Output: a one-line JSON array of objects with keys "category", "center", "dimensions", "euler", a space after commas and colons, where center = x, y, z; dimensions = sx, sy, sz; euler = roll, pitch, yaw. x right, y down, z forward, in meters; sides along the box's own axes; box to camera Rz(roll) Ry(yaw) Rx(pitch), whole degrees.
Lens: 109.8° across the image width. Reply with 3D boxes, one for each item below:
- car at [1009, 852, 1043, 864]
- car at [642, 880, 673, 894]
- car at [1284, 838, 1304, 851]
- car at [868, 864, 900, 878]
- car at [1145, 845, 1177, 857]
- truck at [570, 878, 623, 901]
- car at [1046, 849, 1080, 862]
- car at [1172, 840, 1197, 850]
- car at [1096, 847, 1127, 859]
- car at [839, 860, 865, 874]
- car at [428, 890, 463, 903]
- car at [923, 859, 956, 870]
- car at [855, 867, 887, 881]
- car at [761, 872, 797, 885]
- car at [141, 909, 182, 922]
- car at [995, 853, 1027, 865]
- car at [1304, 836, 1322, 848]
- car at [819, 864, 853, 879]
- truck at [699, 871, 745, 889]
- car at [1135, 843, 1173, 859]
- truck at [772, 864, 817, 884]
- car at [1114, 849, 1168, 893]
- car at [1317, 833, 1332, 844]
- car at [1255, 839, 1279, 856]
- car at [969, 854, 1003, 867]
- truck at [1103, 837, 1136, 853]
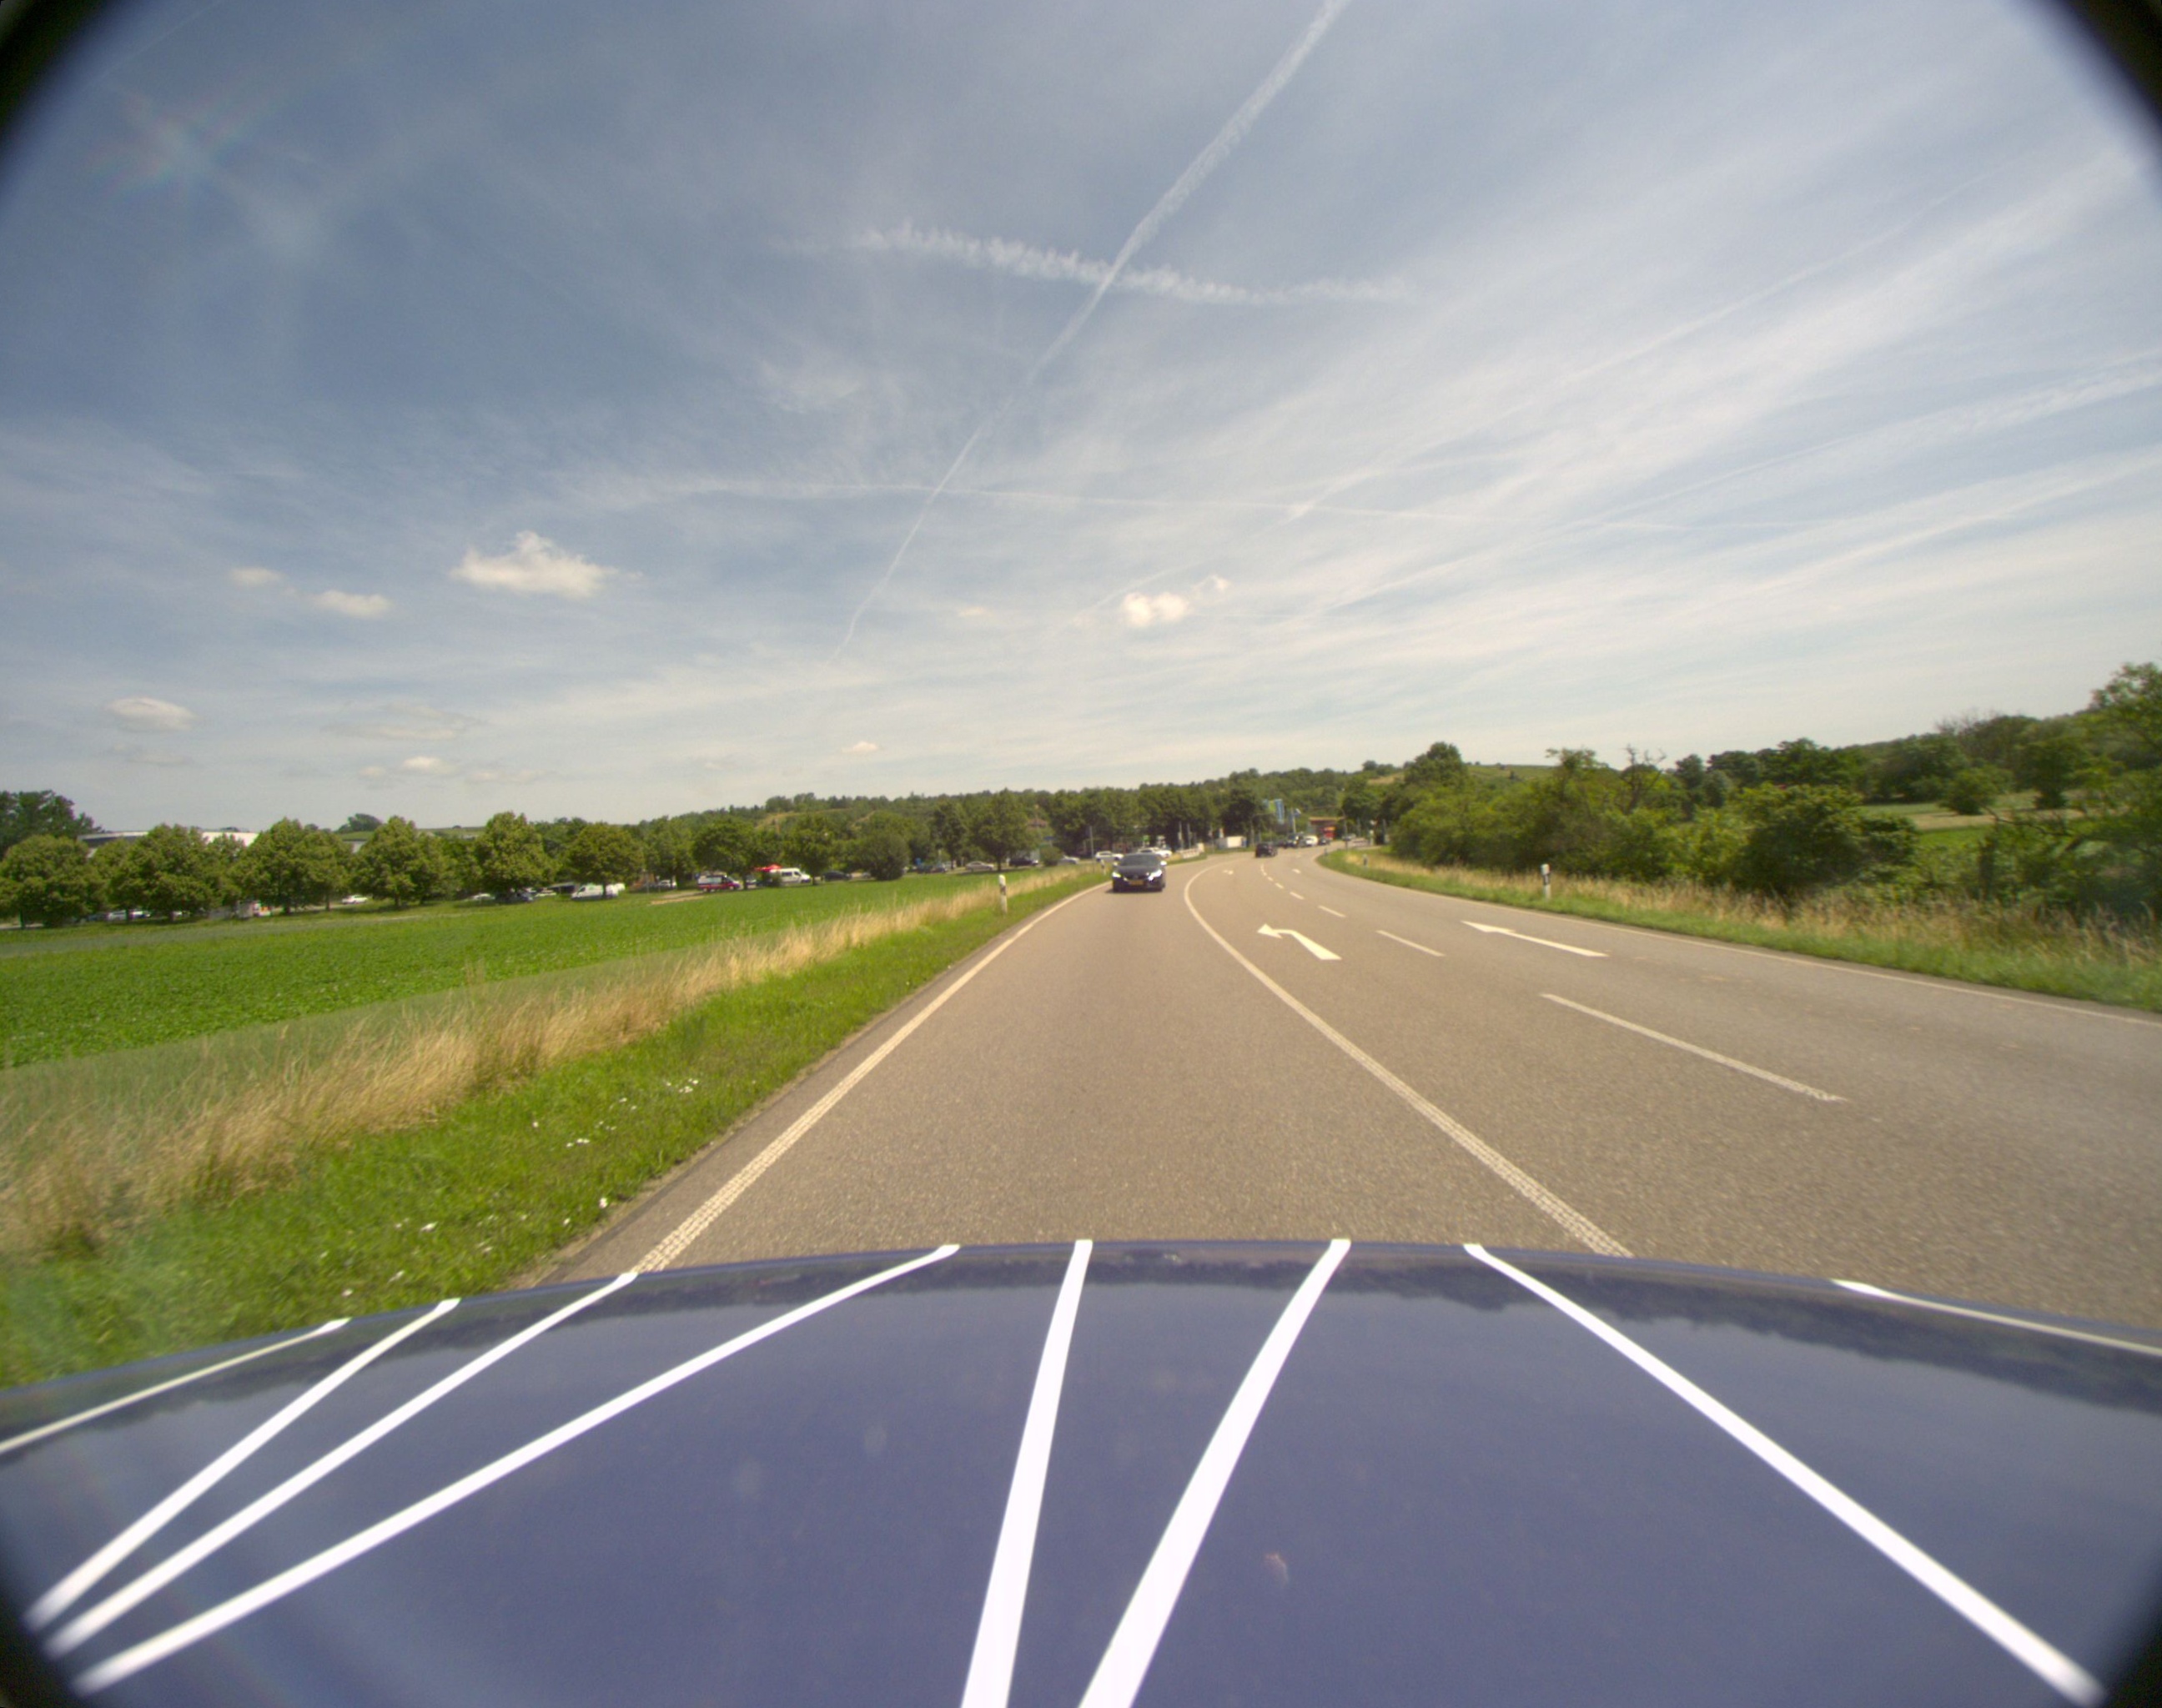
[{"category": "car", "center": [-8.061, 0.529, 111.642], "dimensions": [4.556, 1.501, 1.802], "euler": [-3, 0, 6]}, {"category": "car", "center": [-69.530, 5.431, 124.827], "dimensions": [3.998, 1.814, 1.821], "euler": [-4, 2, -4]}, {"category": "car", "center": [33.985, -1.539, 121.228], "dimensions": [1.806, 1.723, 4.006], "euler": [-3, 3, 34]}, {"category": "car", "center": [-29.649, 2.538, 114.468], "dimensions": [4.527, 1.683, 1.864], "euler": [-4, 2, -11]}, {"category": "car", "center": [11.237, -0.469, 106.255], "dimensions": [3.962, 1.411, 1.831], "euler": [-3, 3, 30]}, {"category": "truck", "center": [-69.846, 5.065, 109.586], "dimensions": [5.942, 2.723, 2.070], "euler": [-4, 4, -7]}, {"category": "car", "center": [-2.586, 0.244, 110.233], "dimensions": [4.555, 1.501, 1.801], "euler": [-4, 2, 11]}, {"category": "car", "center": [20.314, -1.793, 149.352], "dimensions": [4.636, 1.613, 1.995], "euler": [-5, 3, -33]}, {"category": "car", "center": [4.381, -0.106, 108.535], "dimensions": [4.098, 1.411, 1.802], "euler": [-3, 3, 17]}, {"category": "car", "center": [-37.769, 2.152, 125.289], "dimensions": [4.002, 1.814, 1.819], "euler": [-5, 2, -19]}, {"category": "car", "center": [-104.026, 6.956, 124.334], "dimensions": [3.998, 1.814, 1.733], "euler": [-4, 2, -4]}, {"category": "car", "center": [-20.708, 1.555, 111.528], "dimensions": [4.560, 1.266, 1.799], "euler": [-4, 2, -6]}, {"category": "car", "center": [-32.261, 3.083, 116.753], "dimensions": [4.526, 1.683, 1.865], "euler": [-4, 2, -8]}, {"category": "car", "center": [-44.402, 3.627, 111.781], "dimensions": [4.385, 1.549, 1.784], "euler": [-3, 0, -2]}, {"category": "car", "center": [-144.703, 9.646, 119.556], "dimensions": [3.998, 1.620, 1.742], "euler": [-4, 2, -4]}, {"category": "car", "center": [-10.793, 0.772, 117.318], "dimensions": [4.522, 1.682, 1.867], "euler": [-4, 1, 3]}, {"category": "car", "center": [39.299, -2.069, 128.726], "dimensions": [1.806, 1.723, 4.006], "euler": [-3, 3, 34]}, {"category": "car", "center": [-35.557, 2.500, 110.458], "dimensions": [4.290, 1.688, 1.998], "euler": [-4, 2, -5]}, {"category": "truck", "center": [-50.532, 3.597, 107.079], "dimensions": [5.476, 1.965, 1.798], "euler": [-5, 2, -11]}, {"category": "car", "center": [9.849, -0.406, 102.412], "dimensions": [4.630, 1.599, 2.001], "euler": [-4, 3, 29]}, {"category": "truck", "center": [-41.088, 2.882, 109.146], "dimensions": [5.639, 2.353, 2.051], "euler": [-5, 2, -12]}, {"category": "car", "center": [2.321, 0.590, 28.452], "dimensions": [1.782, 1.484, 4.159], "euler": [-1, 1, 7]}, {"category": "car", "center": [43.687, -2.767, 136.204], "dimensions": [1.806, 1.722, 4.007], "euler": [-3, 1, 30]}, {"category": "car", "center": [20.220, -0.774, 82.378], "dimensions": [1.772, 1.649, 4.005], "euler": [-2, 2, 24]}, {"category": "car", "center": [-13.912, 0.958, 111.374], "dimensions": [4.559, 1.502, 1.800], "euler": [-4, 2, -1]}, {"category": "truck", "center": [7.371, -1.726, 145.037], "dimensions": [6.158, 2.603, 2.257], "euler": [-5, 2, -35]}]
